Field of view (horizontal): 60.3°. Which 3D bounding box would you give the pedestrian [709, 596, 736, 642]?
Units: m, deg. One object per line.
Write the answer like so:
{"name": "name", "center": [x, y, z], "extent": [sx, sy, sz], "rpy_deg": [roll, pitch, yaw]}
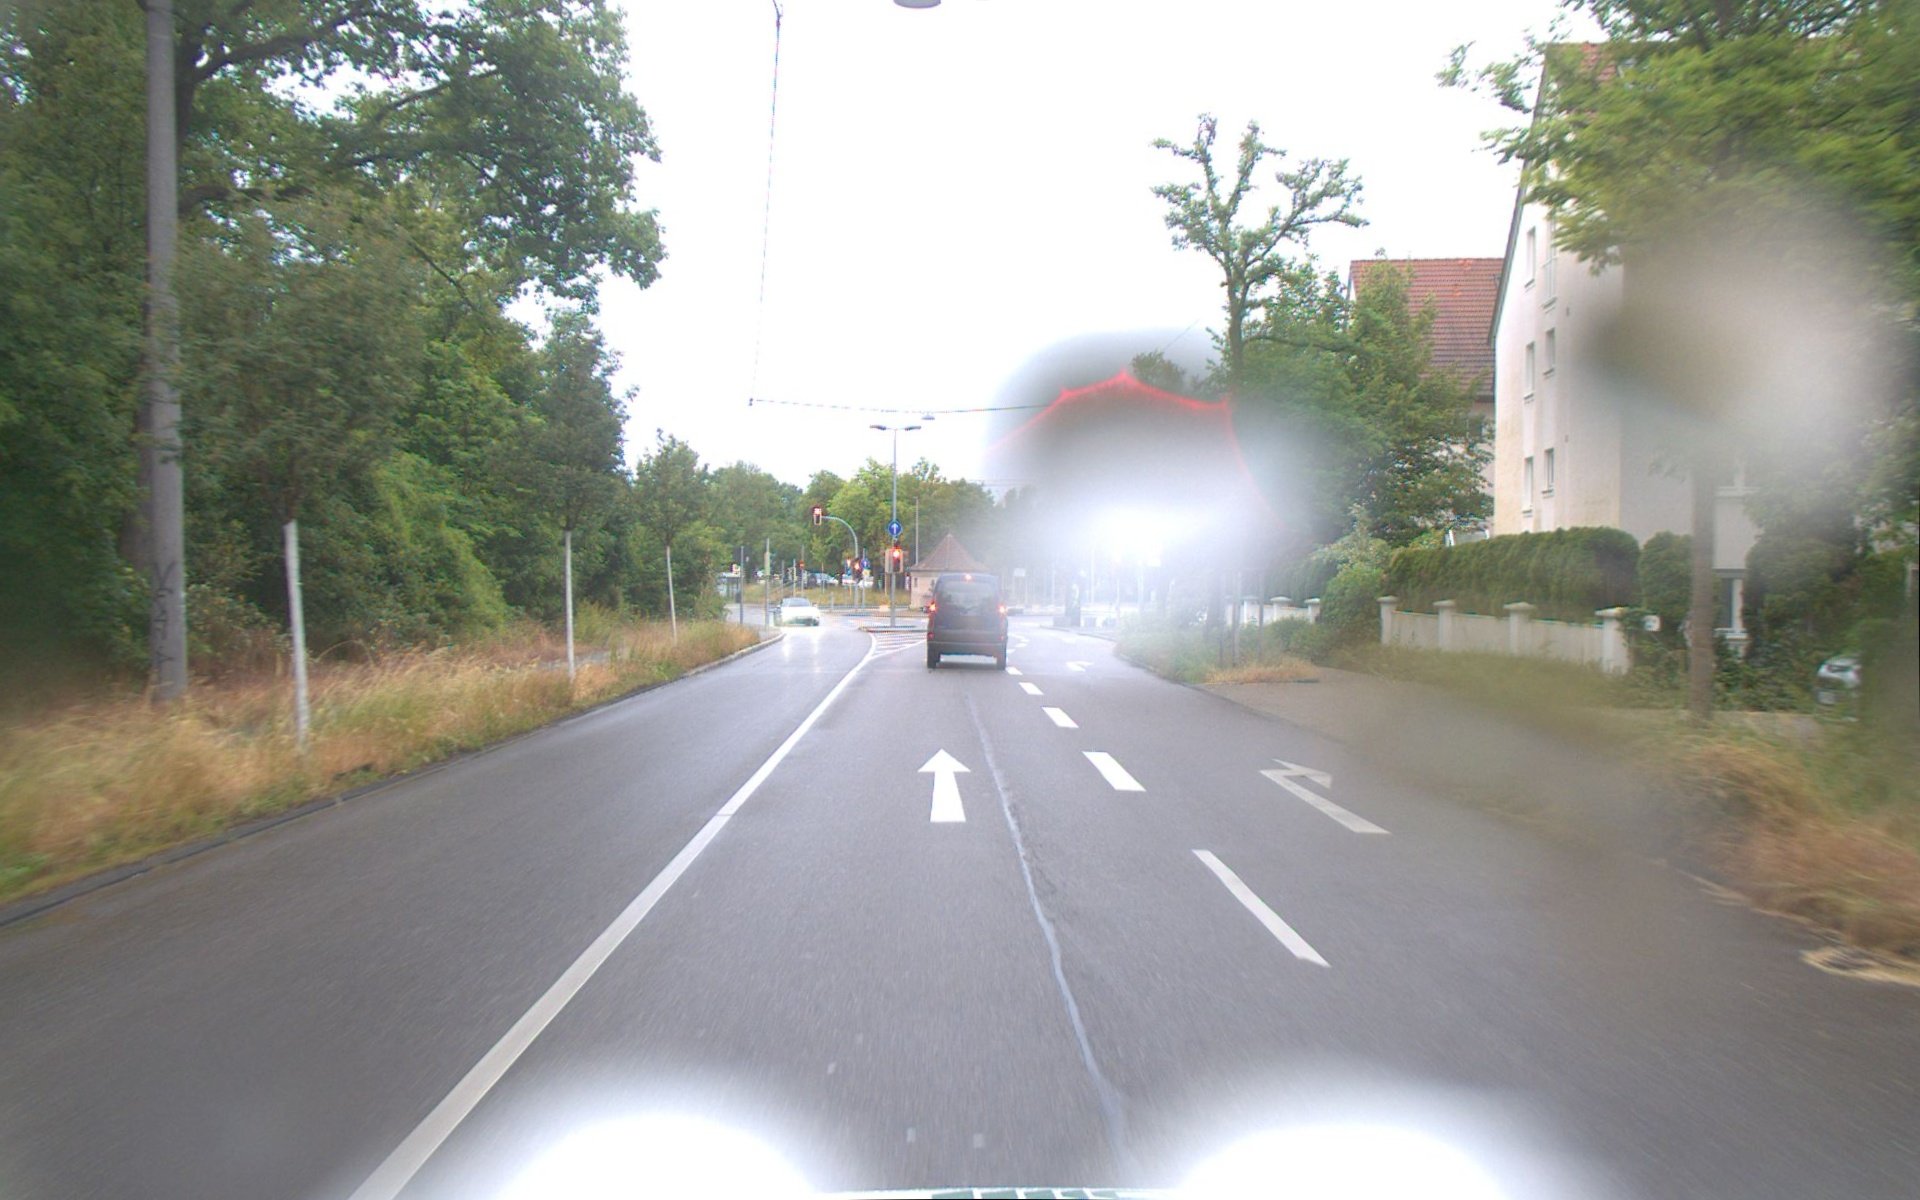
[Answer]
{"name": "pedestrian", "center": [-10.692, 0.847, 74.505], "extent": [1.066, 2.049, 0.999], "rpy_deg": [1, -1, -4]}

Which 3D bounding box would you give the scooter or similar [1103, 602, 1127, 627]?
{"name": "scooter or similar", "center": [7.776, 0.724, 82.972], "extent": [1.125, 1.240, 0.406], "rpy_deg": [1, -1, 0]}

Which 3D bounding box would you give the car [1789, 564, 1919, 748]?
{"name": "car", "center": [11.297, 0.603, 17.402], "extent": [4.212, 1.849, 1.876], "rpy_deg": [1, 0, 10]}

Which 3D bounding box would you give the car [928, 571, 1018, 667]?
{"name": "car", "center": [0.218, 0.369, 33.997], "extent": [1.696, 1.817, 3.999], "rpy_deg": [1, 0, -1]}

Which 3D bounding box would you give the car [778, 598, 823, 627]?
{"name": "car", "center": [-8.132, 0.631, 84.012], "extent": [1.957, 1.334, 4.350], "rpy_deg": [-2, 1, -9]}
